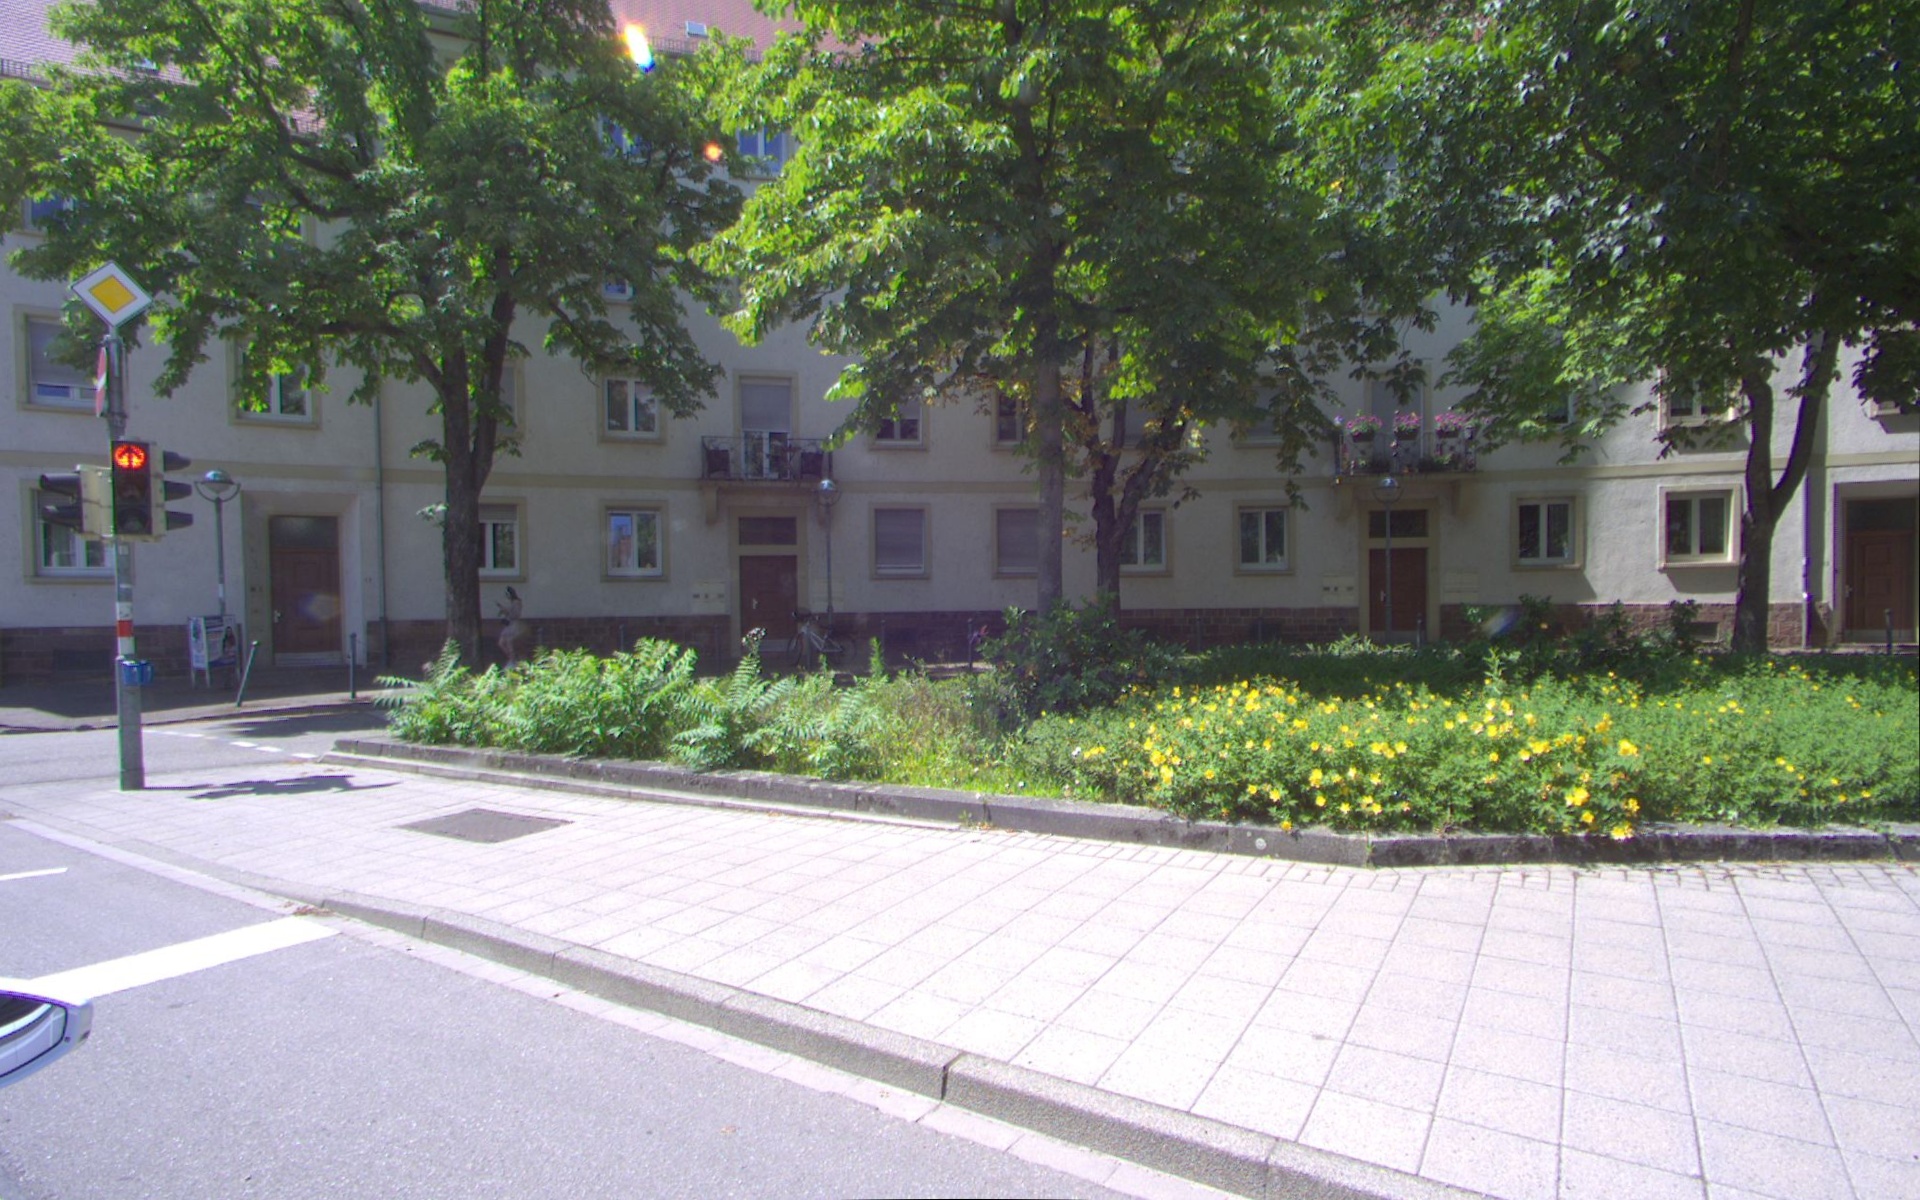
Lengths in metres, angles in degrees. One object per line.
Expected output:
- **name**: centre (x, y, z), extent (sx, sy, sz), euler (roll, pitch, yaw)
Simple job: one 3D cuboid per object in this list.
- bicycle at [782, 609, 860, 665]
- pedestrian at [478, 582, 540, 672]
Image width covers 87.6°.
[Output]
- **bicycle**: centre (-2.883, 0.759, 20.868), extent (1.575, 1.119, 0.525), euler (-1, 1, -4)
- **pedestrian**: centre (-9.182, 0.541, 20.417), extent (1.040, 1.715, 0.650), euler (-3, 7, -23)
